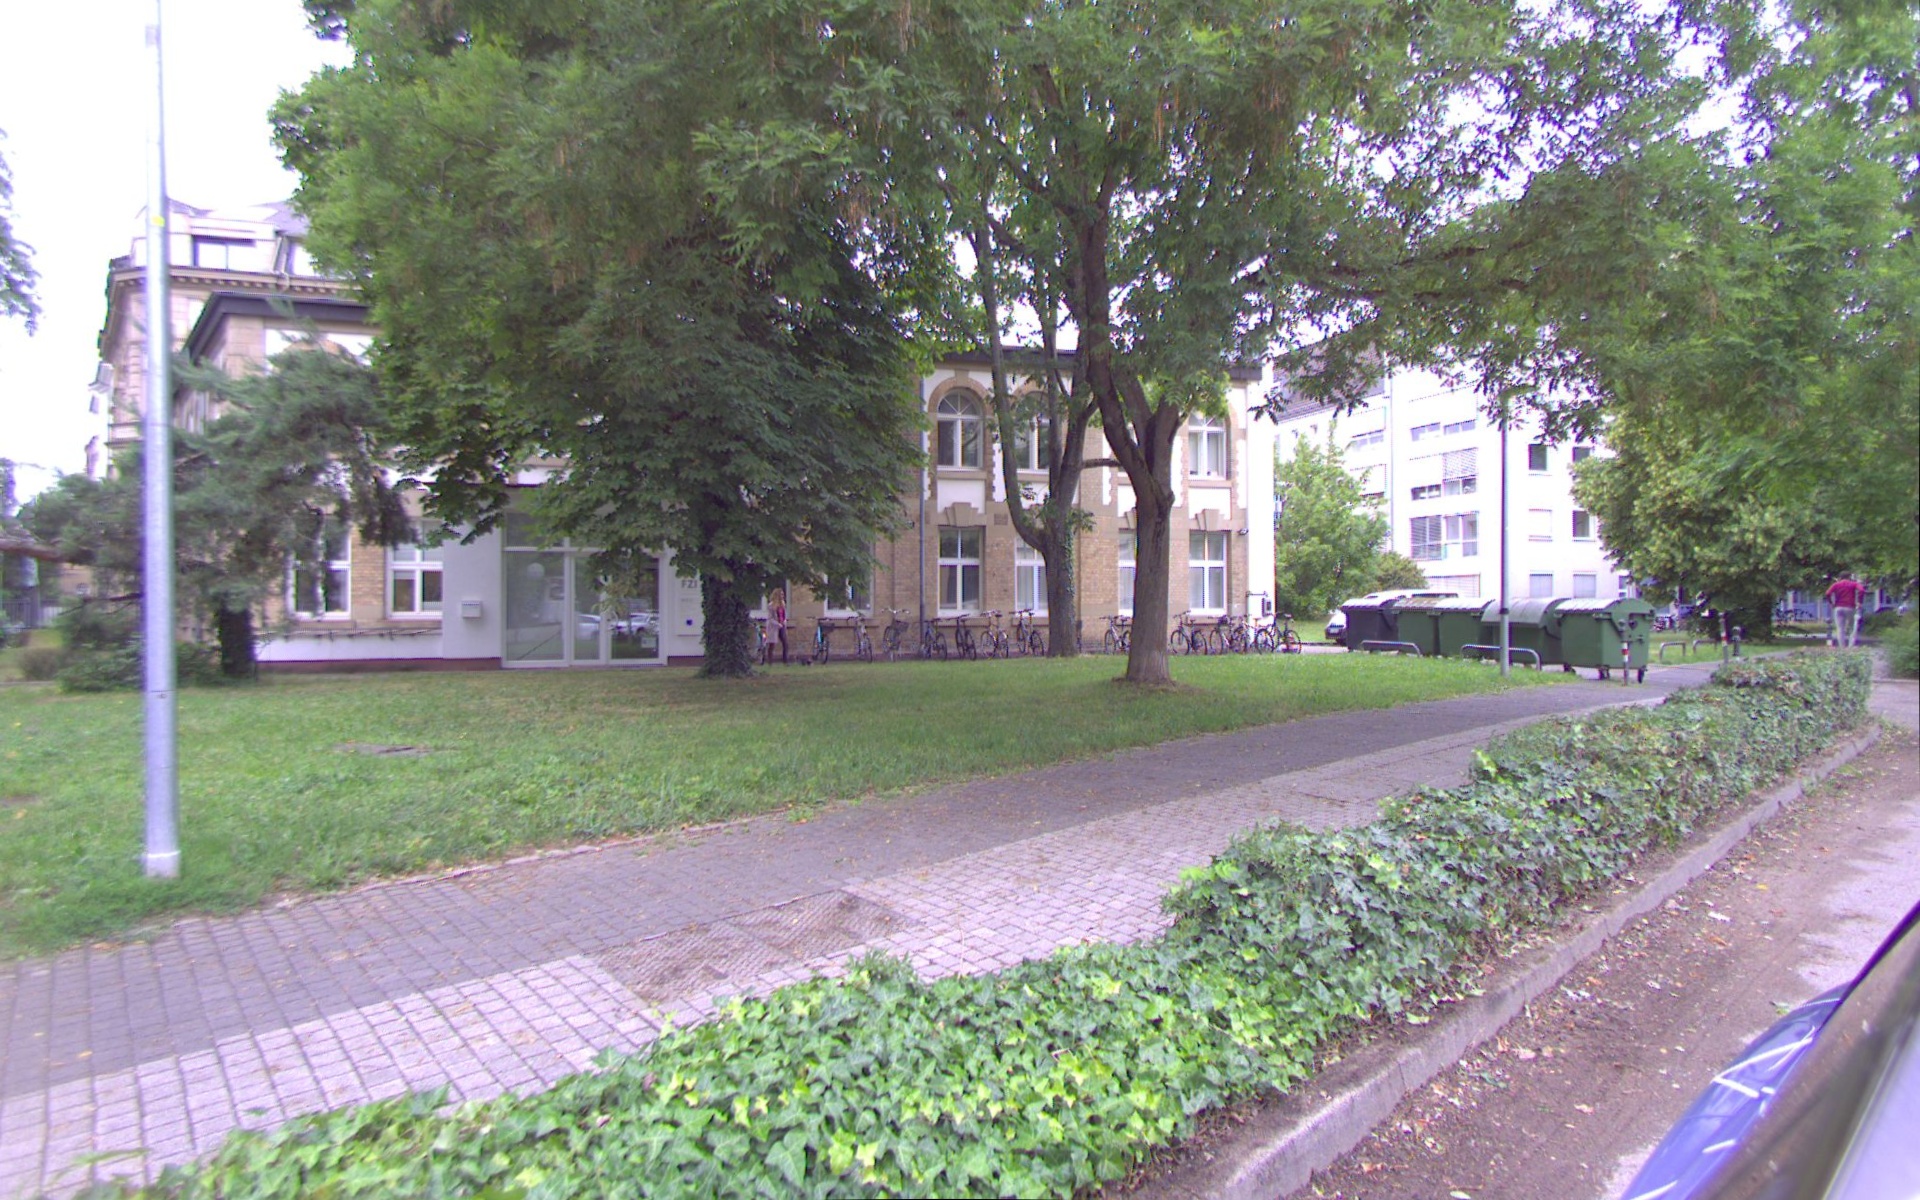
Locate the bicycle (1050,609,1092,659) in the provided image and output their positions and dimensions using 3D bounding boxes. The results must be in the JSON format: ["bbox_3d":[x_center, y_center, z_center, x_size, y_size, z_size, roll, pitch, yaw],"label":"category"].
[{"bbox_3d":[2.682,0.807,24.567,0.451,1.129,1.748,0,0,-13],"label":"bicycle"}]

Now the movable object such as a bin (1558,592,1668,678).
[{"bbox_3d":[11.469,0.585,17.823,1.050,1.452,1.276,0,0,-6],"label":"movable object such as a bin"}]

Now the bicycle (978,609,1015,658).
[{"bbox_3d":[0.861,0.776,24.181,0.451,1.129,1.748,0,0,-13],"label":"bicycle"}]

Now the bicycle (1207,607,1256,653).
[{"bbox_3d":[6.936,0.747,25.926,0.451,1.129,1.748,0,0,-13],"label":"bicycle"}]

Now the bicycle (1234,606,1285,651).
[{"bbox_3d":[7.709,0.709,26.134,0.451,1.129,1.748,0,0,-13],"label":"bicycle"}]

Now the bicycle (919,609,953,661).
[{"bbox_3d":[-0.579,0.799,23.756,0.451,1.128,1.748,0,1,-13],"label":"bicycle"}]

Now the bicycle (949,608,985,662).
[{"bbox_3d":[0.150,0.801,23.838,0.451,1.128,1.749,0,2,-13],"label":"bicycle"}]

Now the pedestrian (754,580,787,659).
[{"bbox_3d":[-3.909,0.396,20.897,0.614,1.607,0.605,0,0,-15],"label":"pedestrian"}]

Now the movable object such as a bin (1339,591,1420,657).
[{"bbox_3d":[9.777,0.547,23.606,1.085,1.469,1.365,0,-1,-20],"label":"movable object such as a bin"}]

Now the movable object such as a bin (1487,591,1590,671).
[{"bbox_3d":[10.981,0.567,19.243,1.085,1.469,1.289,0,-1,-19],"label":"movable object such as a bin"}]

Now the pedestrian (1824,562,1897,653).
[{"bbox_3d":[21.136,0.171,23.761,1.176,2.090,0.796,0,0,-19],"label":"pedestrian"}]

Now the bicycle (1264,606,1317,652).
[{"bbox_3d":[8.563,0.736,26.292,0.451,1.129,1.748,0,0,-14],"label":"bicycle"}]

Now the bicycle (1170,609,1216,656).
[{"bbox_3d":[5.844,0.795,25.430,0.451,1.129,1.747,0,0,-11],"label":"bicycle"}]

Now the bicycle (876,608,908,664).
[{"bbox_3d":[-1.584,0.809,23.366,0.451,1.128,1.749,0,3,-13],"label":"bicycle"}]

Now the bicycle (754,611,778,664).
[{"bbox_3d":[-4.340,0.807,22.574,0.451,1.129,1.748,0,0,-13],"label":"bicycle"}]

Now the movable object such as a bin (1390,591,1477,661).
[{"bbox_3d":[10.367,0.544,22.182,1.085,1.469,1.329,0,-1,-19],"label":"movable object such as a bin"}]

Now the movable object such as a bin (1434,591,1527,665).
[{"bbox_3d":[10.667,0.555,20.784,1.085,1.469,1.297,0,-1,-19],"label":"movable object such as a bin"}]

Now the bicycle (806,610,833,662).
[{"bbox_3d":[-3.182,0.792,22.910,0.451,1.129,1.748,0,0,-13],"label":"bicycle"}]

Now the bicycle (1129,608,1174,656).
[{"bbox_3d":[4.745,0.779,25.186,0.451,1.129,1.748,0,0,-13],"label":"bicycle"}]

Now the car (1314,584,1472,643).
[{"bbox_3d":[14.792,0.476,34.645,4.673,1.898,1.904,0,-3,-13],"label":"car"}]

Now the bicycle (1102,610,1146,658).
[{"bbox_3d":[4.038,0.820,25.014,0.451,1.129,1.748,0,0,-13],"label":"bicycle"}]

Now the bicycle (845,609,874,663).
[{"bbox_3d":[-2.318,0.802,23.163,0.451,1.128,1.748,0,2,-13],"label":"bicycle"}]

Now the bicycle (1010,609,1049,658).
[{"bbox_3d":[1.671,0.800,24.492,0.451,1.129,1.748,0,0,-13],"label":"bicycle"}]
